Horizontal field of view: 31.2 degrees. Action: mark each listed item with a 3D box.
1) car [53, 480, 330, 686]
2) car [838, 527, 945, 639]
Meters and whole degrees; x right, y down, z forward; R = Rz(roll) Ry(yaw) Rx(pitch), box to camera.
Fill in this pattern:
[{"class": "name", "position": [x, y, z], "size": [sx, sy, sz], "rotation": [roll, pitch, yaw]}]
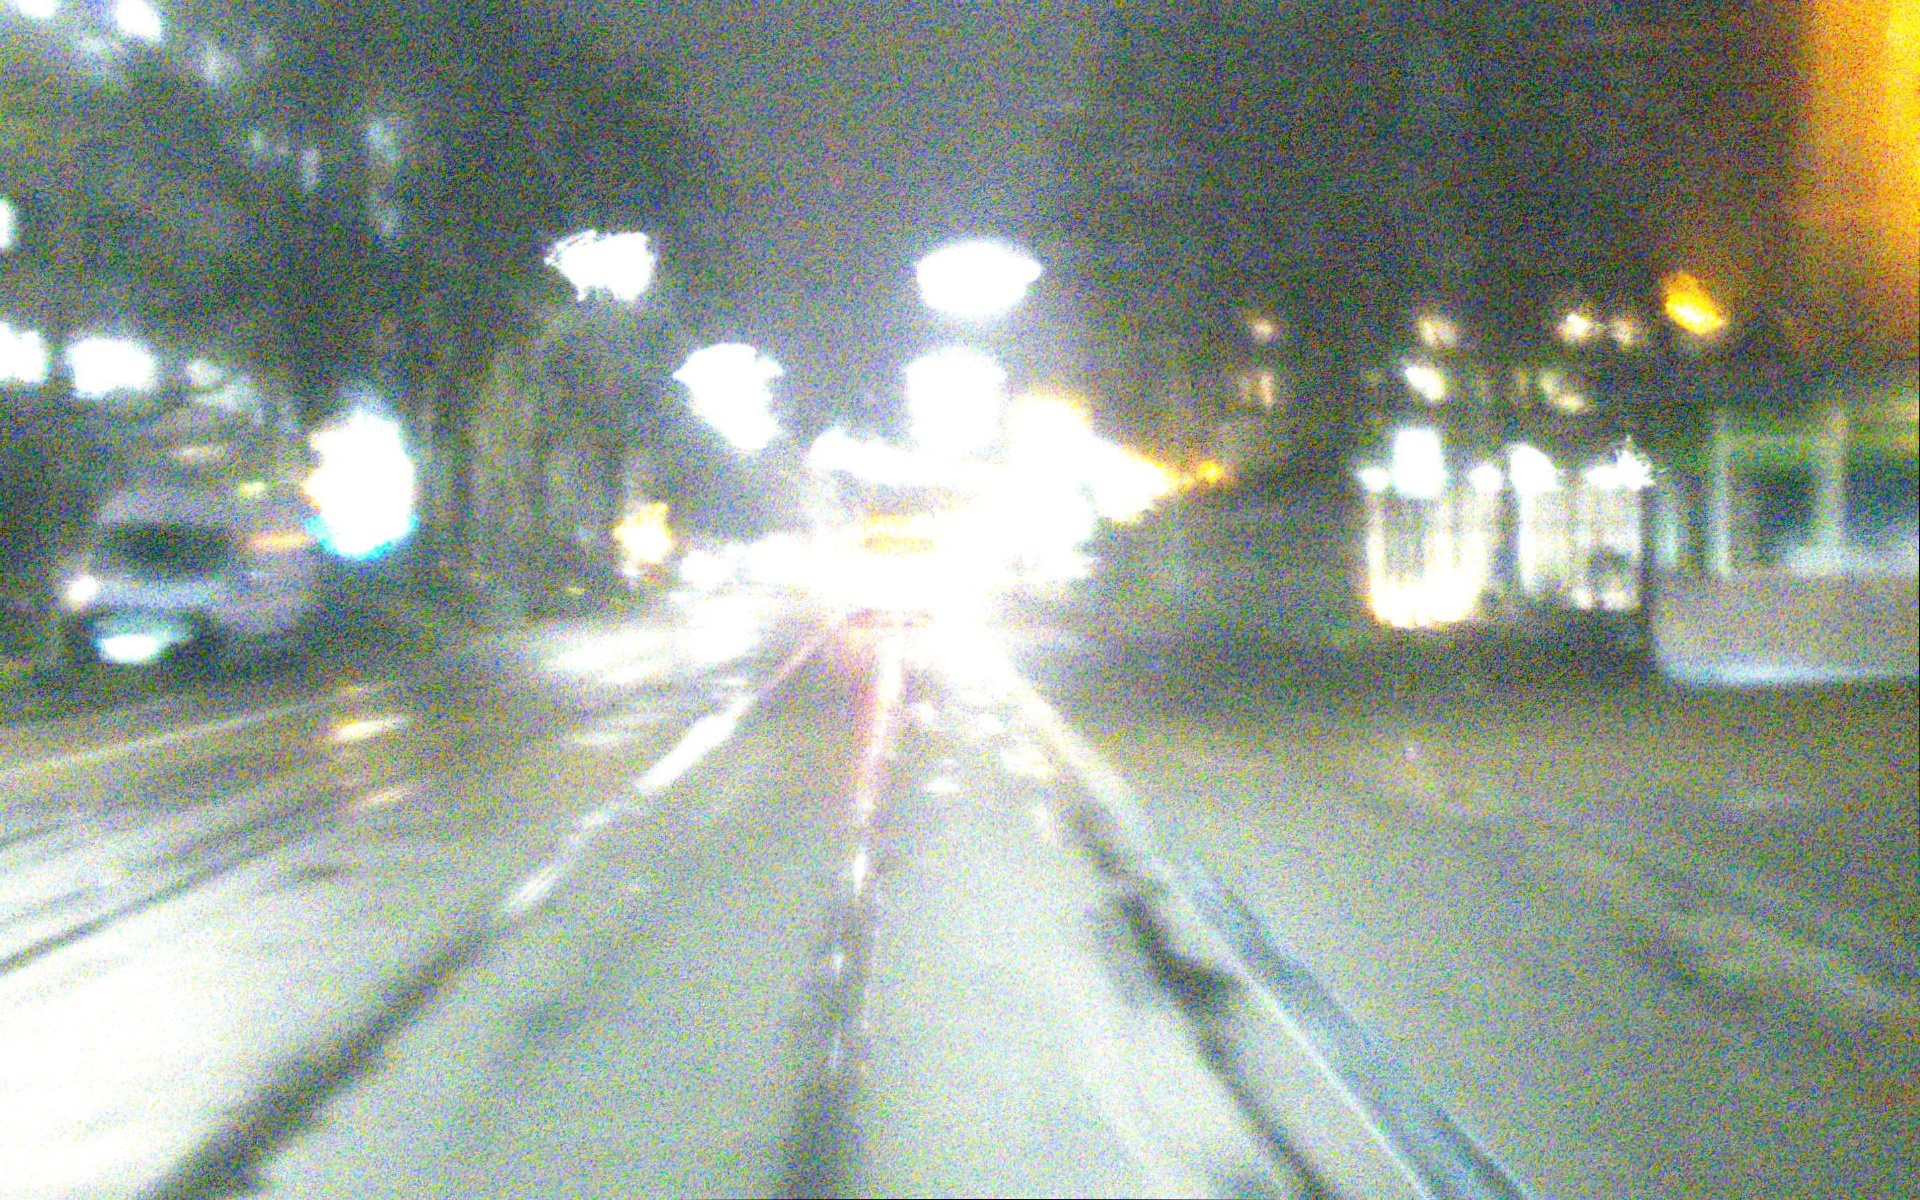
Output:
[{"class": "car", "position": [-10.325, -0.284, 46.759], "size": [2.185, 2.583, 6.392], "rotation": [1, 1, 1]}, {"class": "car", "position": [-1.522, -0.372, 74.889], "size": [2.244, 2.353, 4.394], "rotation": [1, 0, -2]}]
